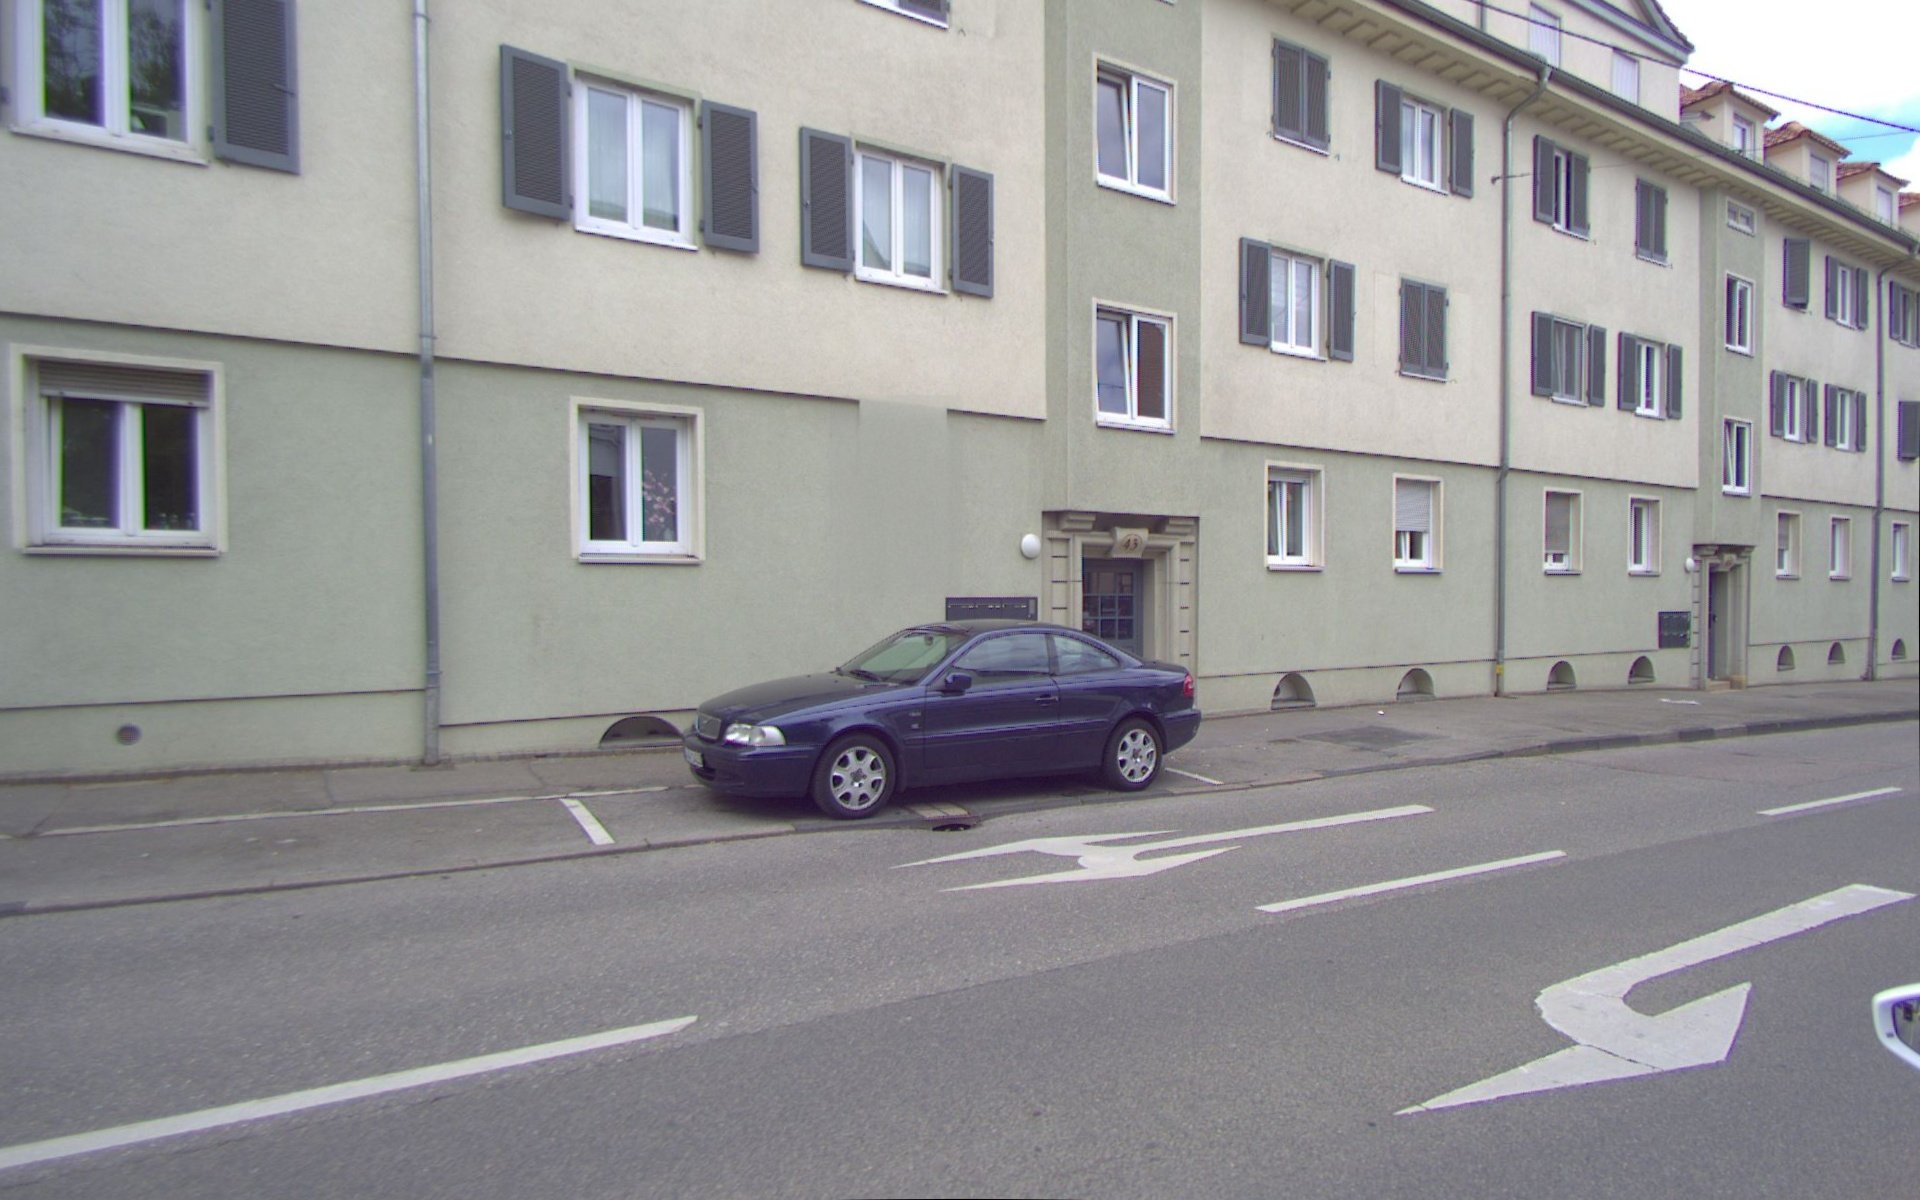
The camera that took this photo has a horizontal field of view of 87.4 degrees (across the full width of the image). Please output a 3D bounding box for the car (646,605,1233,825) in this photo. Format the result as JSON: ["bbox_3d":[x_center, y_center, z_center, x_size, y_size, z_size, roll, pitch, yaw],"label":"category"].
[{"bbox_3d":[-0.022,0.801,8.542,4.791,1.422,1.701,1,0,-31],"label":"car"}]
